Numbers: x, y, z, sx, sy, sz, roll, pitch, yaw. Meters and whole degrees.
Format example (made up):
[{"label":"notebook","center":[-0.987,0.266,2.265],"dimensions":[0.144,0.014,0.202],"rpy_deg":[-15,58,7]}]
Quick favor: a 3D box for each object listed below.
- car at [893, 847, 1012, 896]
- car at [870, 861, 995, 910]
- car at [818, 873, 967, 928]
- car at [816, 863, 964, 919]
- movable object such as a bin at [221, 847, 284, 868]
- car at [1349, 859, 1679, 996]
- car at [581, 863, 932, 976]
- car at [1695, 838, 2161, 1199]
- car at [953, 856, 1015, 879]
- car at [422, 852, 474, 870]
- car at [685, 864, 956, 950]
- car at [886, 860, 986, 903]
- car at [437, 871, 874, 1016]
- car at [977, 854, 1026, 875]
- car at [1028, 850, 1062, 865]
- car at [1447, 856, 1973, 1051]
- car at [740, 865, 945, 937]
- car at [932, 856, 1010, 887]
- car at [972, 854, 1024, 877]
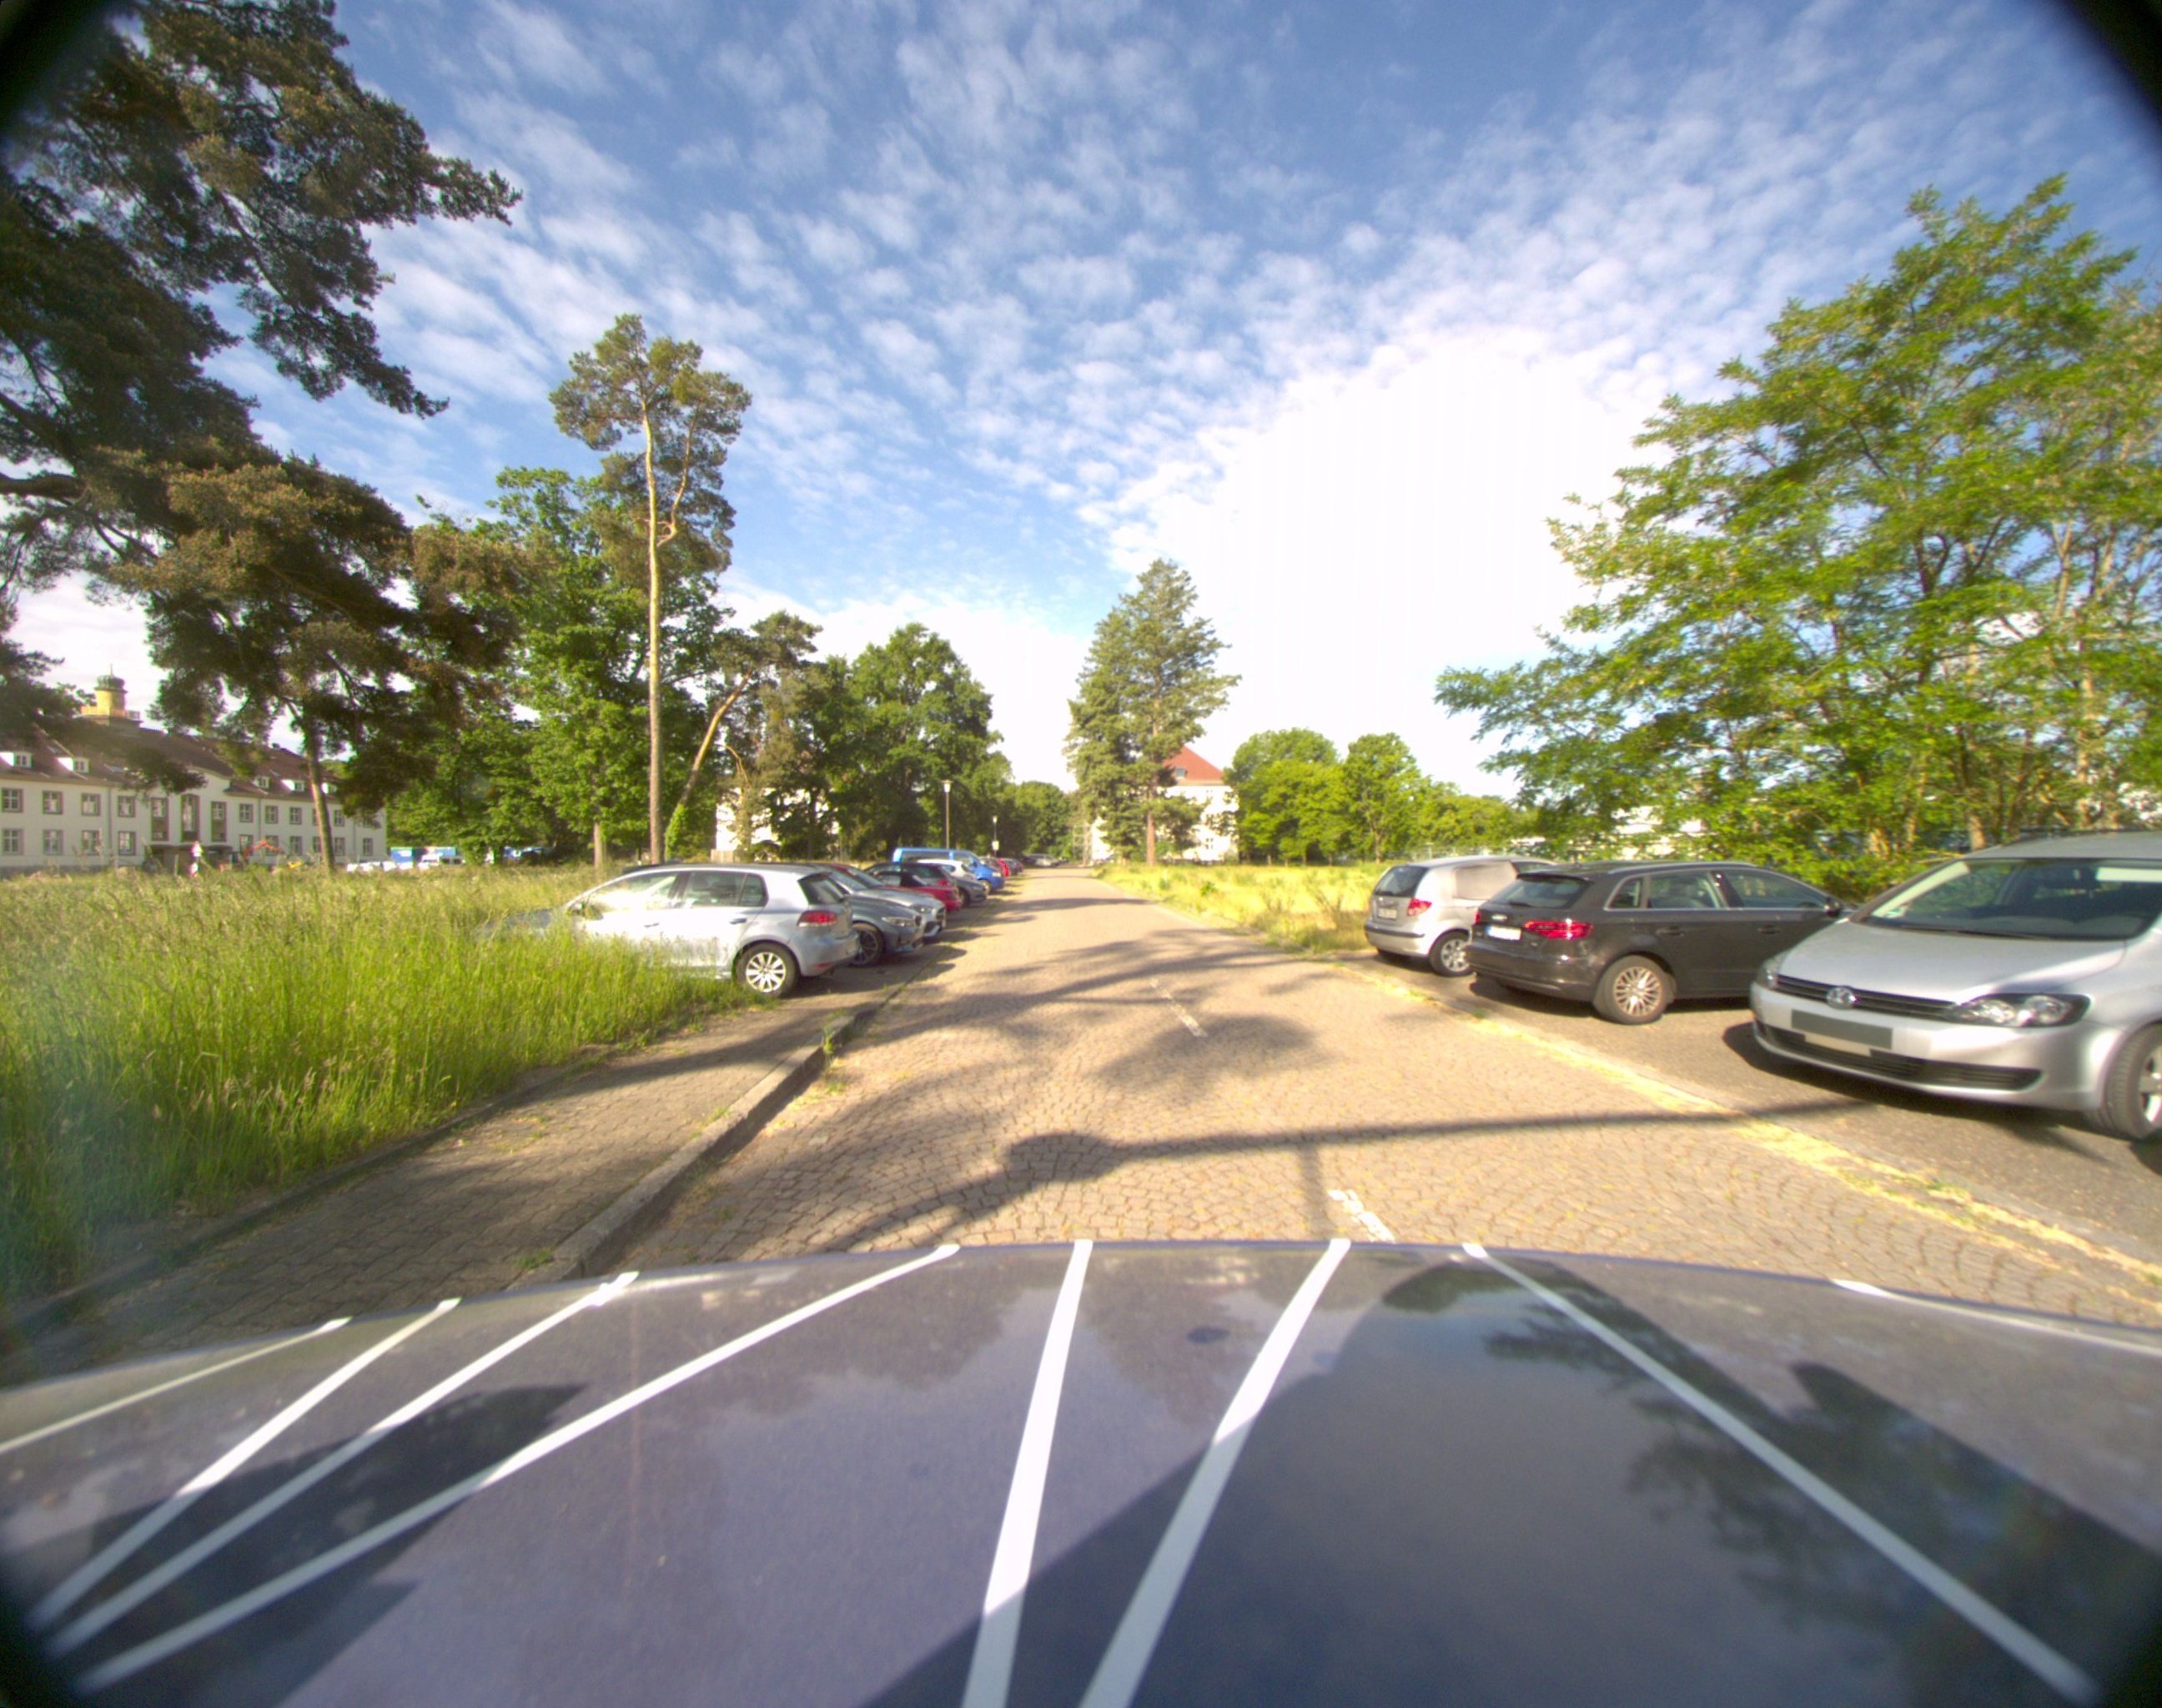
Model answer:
[{"label":"car","center":[-5.428,0.728,32.582],"dimensions":[4.727,2.002,2.000],"rpy_deg":[0,0,-1]},{"label":"car","center":[-4.711,0.974,24.369],"dimensions":[3.621,1.482,1.508],"rpy_deg":[0,0,7]},{"label":"car","center":[-4.567,1.115,18.743],"dimensions":[3.357,1.248,1.419],"rpy_deg":[0,0,-3]},{"label":"car","center":[-5.279,1.002,21.341],"dimensions":[3.780,1.482,1.549],"rpy_deg":[0,0,-3]},{"label":"movable object such as a bin","center":[-93.779,0.339,86.107],"dimensions":[1.999,2.309,4.984],"rpy_deg":[0,0,-6]},{"label":"car","center":[5.655,0.896,10.169],"dimensions":[3.475,1.462,1.635],"rpy_deg":[-3,1,-5]},{"label":"car","center":[-4.627,0.940,11.439],"dimensions":[4.508,1.508,1.825],"rpy_deg":[1,0,-6]},{"label":"car","center":[6.465,0.781,4.800],"dimensions":[3.956,1.616,1.721],"rpy_deg":[-3,1,-7]},{"label":"car","center":[-6.597,0.931,51.845],"dimensions":[3.997,1.509,1.756],"rpy_deg":[0,0,1]},{"label":"car","center":[-71.682,0.794,86.153],"dimensions":[1.999,2.002,4.772],"rpy_deg":[0,0,-1]},{"label":"car","center":[-4.687,0.953,14.209],"dimensions":[4.424,1.394,1.825],"rpy_deg":[1,0,-3]},{"label":"car","center":[-5.147,0.961,27.204],"dimensions":[3.265,1.482,1.449],"rpy_deg":[0,0,0]},{"label":"car","center":[-4.672,0.967,8.871],"dimensions":[4.027,1.452,1.870],"rpy_deg":[1,0,-3]},{"label":"car","center":[-6.948,0.930,66.828],"dimensions":[3.996,1.605,1.756],"rpy_deg":[-3,1,2]},{"label":"car","center":[-5.471,0.548,115.566],"dimensions":[5.069,2.251,1.999],"rpy_deg":[0,1,-2]},{"label":"car","center":[5.924,0.853,7.455],"dimensions":[3.807,1.462,1.687],"rpy_deg":[-3,1,-3]},{"label":"car","center":[-5.030,0.986,16.443],"dimensions":[3.918,1.385,1.660],"rpy_deg":[1,0,-3]},{"label":"car","center":[-5.960,0.930,41.505],"dimensions":[3.997,1.630,1.756],"rpy_deg":[0,0,1]},{"label":"car","center":[-6.722,0.893,62.033],"dimensions":[3.997,1.731,1.756],"rpy_deg":[-2,0,1]}]
